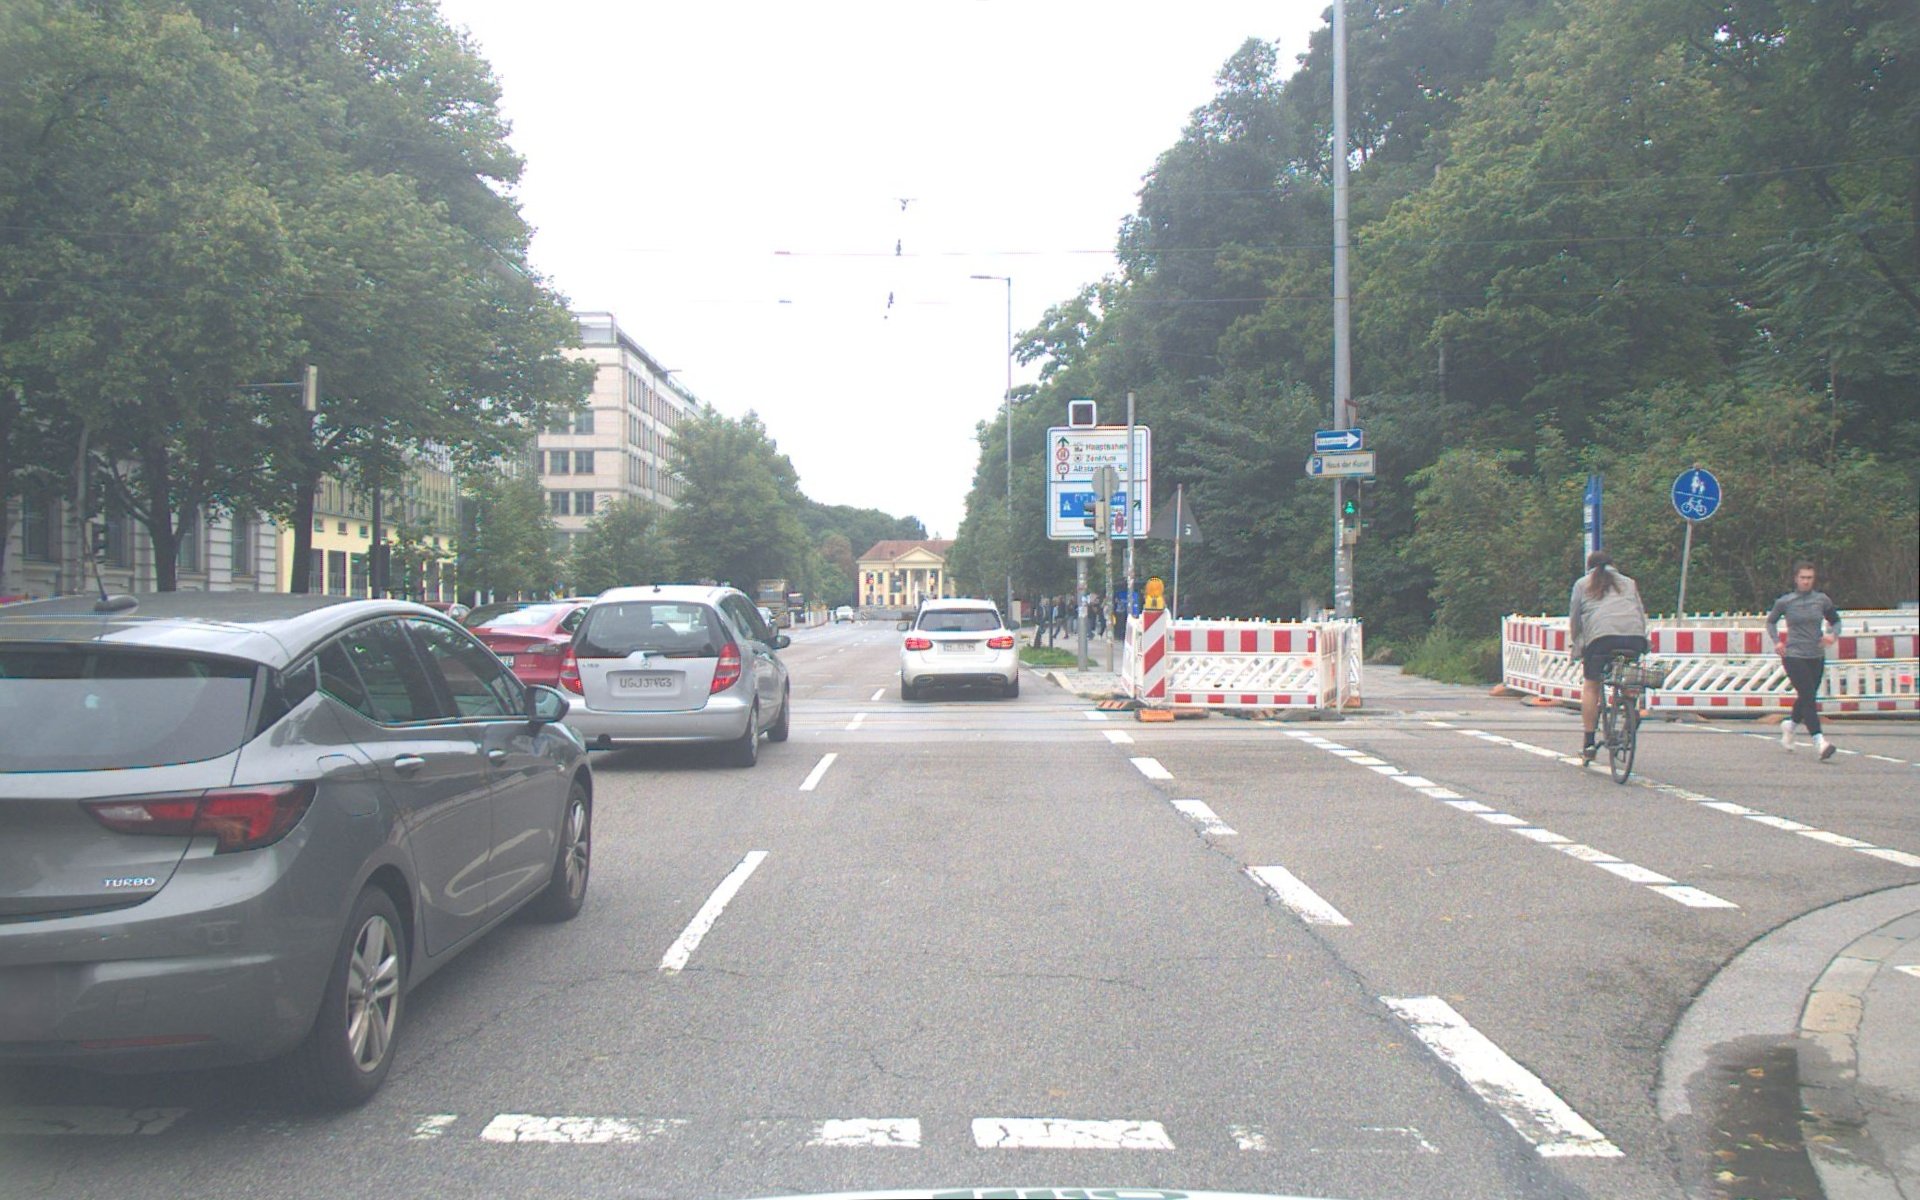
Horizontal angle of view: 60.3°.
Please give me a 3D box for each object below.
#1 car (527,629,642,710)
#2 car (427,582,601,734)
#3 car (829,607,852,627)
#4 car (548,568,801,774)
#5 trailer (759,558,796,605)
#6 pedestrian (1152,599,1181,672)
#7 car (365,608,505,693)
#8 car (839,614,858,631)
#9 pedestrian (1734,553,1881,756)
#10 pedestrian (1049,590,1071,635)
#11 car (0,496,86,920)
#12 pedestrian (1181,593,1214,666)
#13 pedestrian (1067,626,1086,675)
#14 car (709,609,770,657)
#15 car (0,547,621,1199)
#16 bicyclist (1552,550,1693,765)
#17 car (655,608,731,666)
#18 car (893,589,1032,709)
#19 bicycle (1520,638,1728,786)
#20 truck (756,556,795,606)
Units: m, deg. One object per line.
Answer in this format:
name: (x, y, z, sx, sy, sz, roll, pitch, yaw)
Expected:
car: (-8.132, 1.468, 36.119, 1.601, 1.599, 3.945, -1, 0, 0)
car: (-5.401, 0.662, 20.457, 1.747, 1.683, 3.989, 1, 0, -11)
car: (-11.560, 1.650, 160.347, 1.819, 1.779, 4.629, -2, 0, 0)
car: (-2.567, 0.602, 15.786, 1.743, 1.683, 3.999, 1, 0, -1)
trailer: (-15.483, -1.476, 141.065, 2.892, 3.805, 11.757, 1, 0, -5)
pedestrian: (5.384, 0.919, 43.157, 0.657, 1.871, 0.641, 1, -1, 0)
car: (-10.602, 0.975, 33.667, 1.601, 1.599, 3.945, -1, 0, 0)
car: (-11.065, 2.213, 164.727, 1.681, 1.669, 3.507, 0, -1, -1)
pedestrian: (7.794, 0.491, 15.252, 0.756, 1.795, 1.067, 1, 0, -3)
pedestrian: (4.295, 0.518, 71.049, 0.790, 1.914, 0.542, 1, -1, 36)
car: (-5.163, 0.469, 5.573, 1.860, 1.880, 4.954, 0, -1, -1)
pedestrian: (6.180, 0.771, 43.031, 0.735, 1.871, 0.756, 1, -1, 0)
pedestrian: (4.733, 2.036, 67.126, 0.693, 1.949, 0.956, 1, -1, -1)
car: (-7.735, 1.131, 58.312, 1.601, 1.599, 3.945, -1, 0, 0)
car: (-2.459, 0.669, 5.954, 1.675, 1.579, 3.999, 1, 0, -1)
bicyclist: (5.447, 0.461, 13.638, 0.742, 1.696, 0.898, 1, -1, -5)
car: (-7.797, 1.066, 48.660, 1.601, 1.599, 3.945, -1, 0, 0)
car: (-0.041, 0.703, 25.477, 1.745, 1.673, 3.995, 1, 0, -5)
bicycle: (5.437, 0.879, 13.708, 0.723, 1.076, 2.161, 1, 0, -4)
truck: (-14.840, -1.474, 133.444, 2.859, 3.841, 7.658, 1, 0, -4)
